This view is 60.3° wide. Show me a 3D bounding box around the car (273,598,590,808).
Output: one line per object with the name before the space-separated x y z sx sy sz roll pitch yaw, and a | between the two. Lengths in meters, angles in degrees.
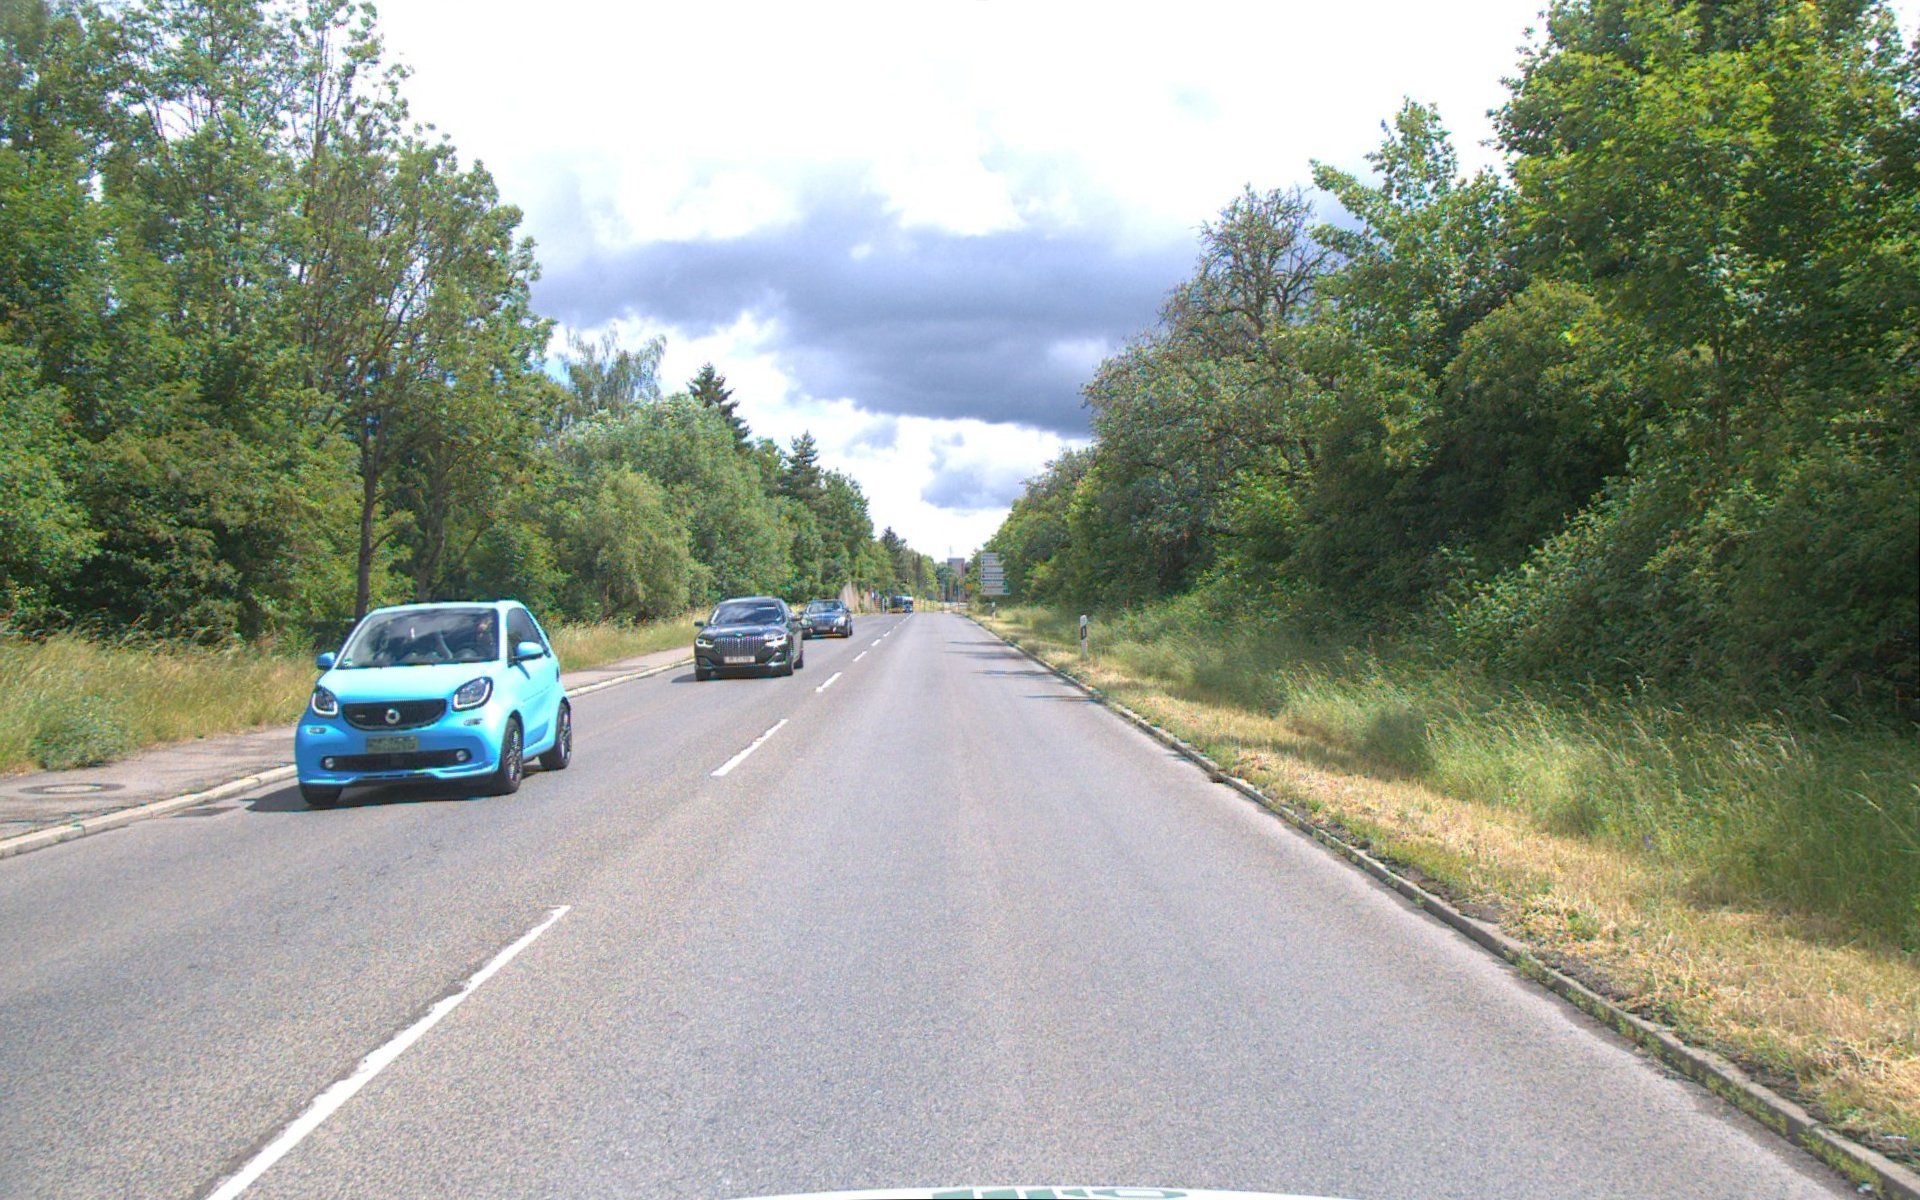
car | -4.323 0.774 13.976 1.748 1.472 2.965 -3 0 -2

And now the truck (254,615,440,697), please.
truck | -22.514 2.047 60.854 6.071 2.654 2.002 -3 0 8

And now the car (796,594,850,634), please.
car | -5.129 0.497 62.440 1.748 1.357 4.621 -3 1 -2

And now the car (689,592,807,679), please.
car | -4.126 0.641 32.859 1.846 1.517 4.715 -3 1 -2
